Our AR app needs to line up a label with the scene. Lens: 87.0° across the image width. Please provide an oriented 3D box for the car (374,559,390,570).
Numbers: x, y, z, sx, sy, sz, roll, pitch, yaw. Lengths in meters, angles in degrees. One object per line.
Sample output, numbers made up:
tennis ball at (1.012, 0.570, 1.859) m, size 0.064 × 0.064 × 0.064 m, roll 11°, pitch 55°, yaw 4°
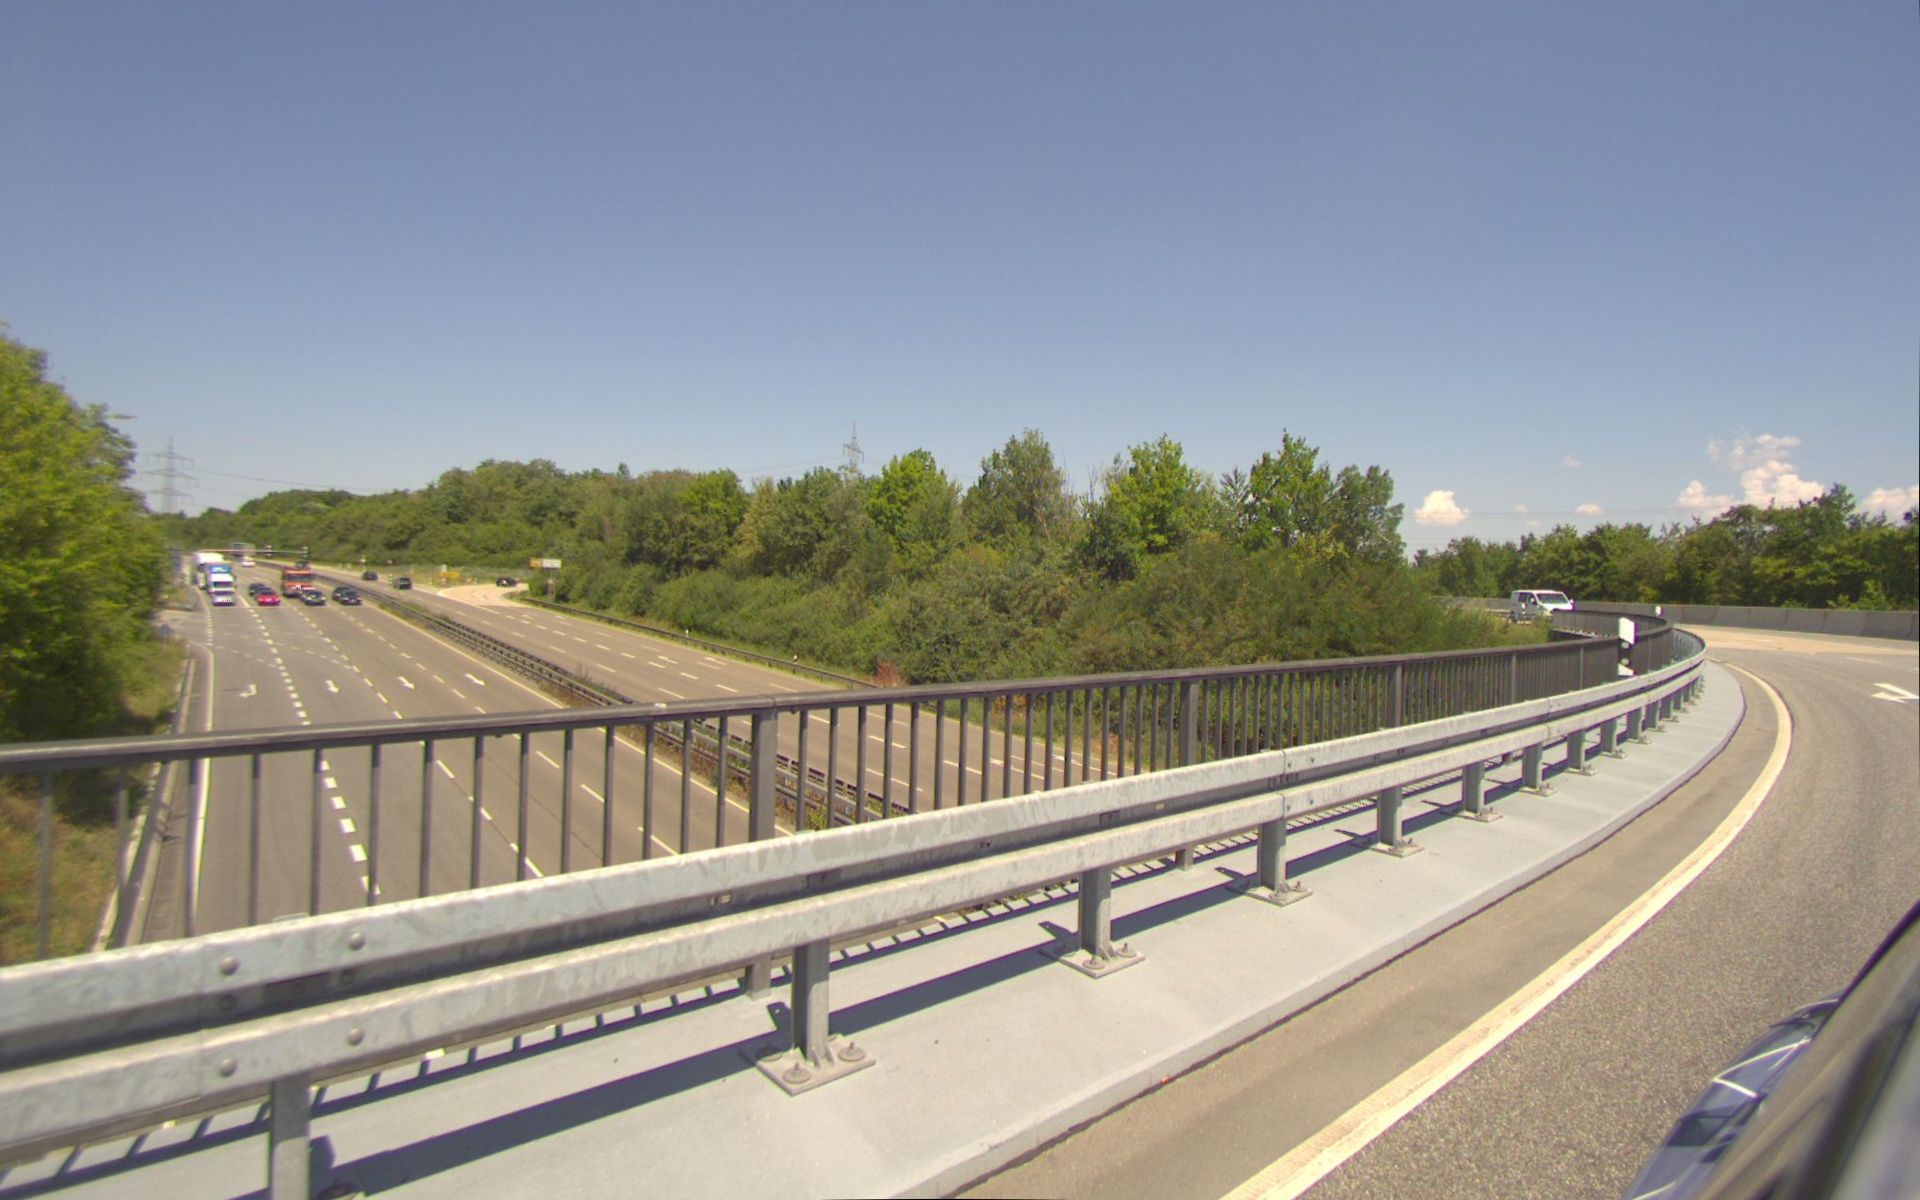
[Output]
car at (-103.394, -6.366, 181.017) m, size 1.963 × 2.038 × 3.998 m, roll 0°, pitch 2°, yaw -38°

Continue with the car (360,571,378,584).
car at (-95.643, -3.703, 163.749) m, size 1.963 × 2.038 × 3.998 m, roll 0°, pitch 2°, yaw -38°

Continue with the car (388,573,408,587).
car at (-78.831, -2.775, 141.975) m, size 1.963 × 1.880 × 3.998 m, roll 0°, pitch 2°, yaw -38°

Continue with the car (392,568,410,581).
car at (-93.824, -4.269, 169.816) m, size 1.963 × 2.038 × 3.998 m, roll 0°, pitch 2°, yaw -38°

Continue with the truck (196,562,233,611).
truck at (-81.312, -1.616, 110.262) m, size 2.532 × 5.072 × 12.391 m, roll 0°, pitch 2°, yaw -40°

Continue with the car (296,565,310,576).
car at (-123.614, -5.551, 190.477) m, size 1.963 × 2.038 × 3.998 m, roll 0°, pitch 2°, yaw -38°

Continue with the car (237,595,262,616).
car at (-74.959, 0.575, 106.788) m, size 1.964 × 2.038 × 3.998 m, roll 0°, pitch 2°, yaw -38°

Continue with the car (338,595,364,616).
car at (-64.996, 0.557, 107.989) m, size 1.964 × 2.038 × 3.998 m, roll 0°, pitch 2°, yaw -38°

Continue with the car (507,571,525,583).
car at (-76.137, -4.027, 173.615) m, size 1.958 × 2.038 × 4.008 m, roll 1°, pitch 1°, yaw -12°

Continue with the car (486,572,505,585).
car at (-74.313, -3.451, 161.922) m, size 1.963 × 2.038 × 3.998 m, roll 0°, pitch 2°, yaw -38°

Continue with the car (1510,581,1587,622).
car at (34.002, 0.031, 58.683) m, size 2.000 × 2.110 × 5.854 m, roll 1°, pitch 2°, yaw 11°

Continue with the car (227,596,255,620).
car at (-66.182, 0.723, 93.150) m, size 1.964 × 2.038 × 3.998 m, roll 0°, pitch 2°, yaw -38°

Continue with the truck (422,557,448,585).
truck at (-79.264, -4.393, 152.759) m, size 1.963 × 4.000 × 9.078 m, roll 0°, pitch 2°, yaw -38°

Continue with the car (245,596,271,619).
car at (-71.307, 0.751, 102.801) m, size 1.948 × 2.237 × 3.998 m, roll 0°, pitch 2°, yaw -38°

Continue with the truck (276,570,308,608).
truck at (-76.611, -1.322, 116.002) m, size 2.662 × 4.060 × 8.882 m, roll 0°, pitch 2°, yaw -36°

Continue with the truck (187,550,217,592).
truck at (-94.535, -3.669, 126.128) m, size 2.380 × 5.031 × 11.066 m, roll 0°, pitch 2°, yaw -40°

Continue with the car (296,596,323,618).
car at (-67.323, 0.709, 104.720) m, size 1.964 × 2.038 × 3.998 m, roll 0°, pitch 2°, yaw -38°
